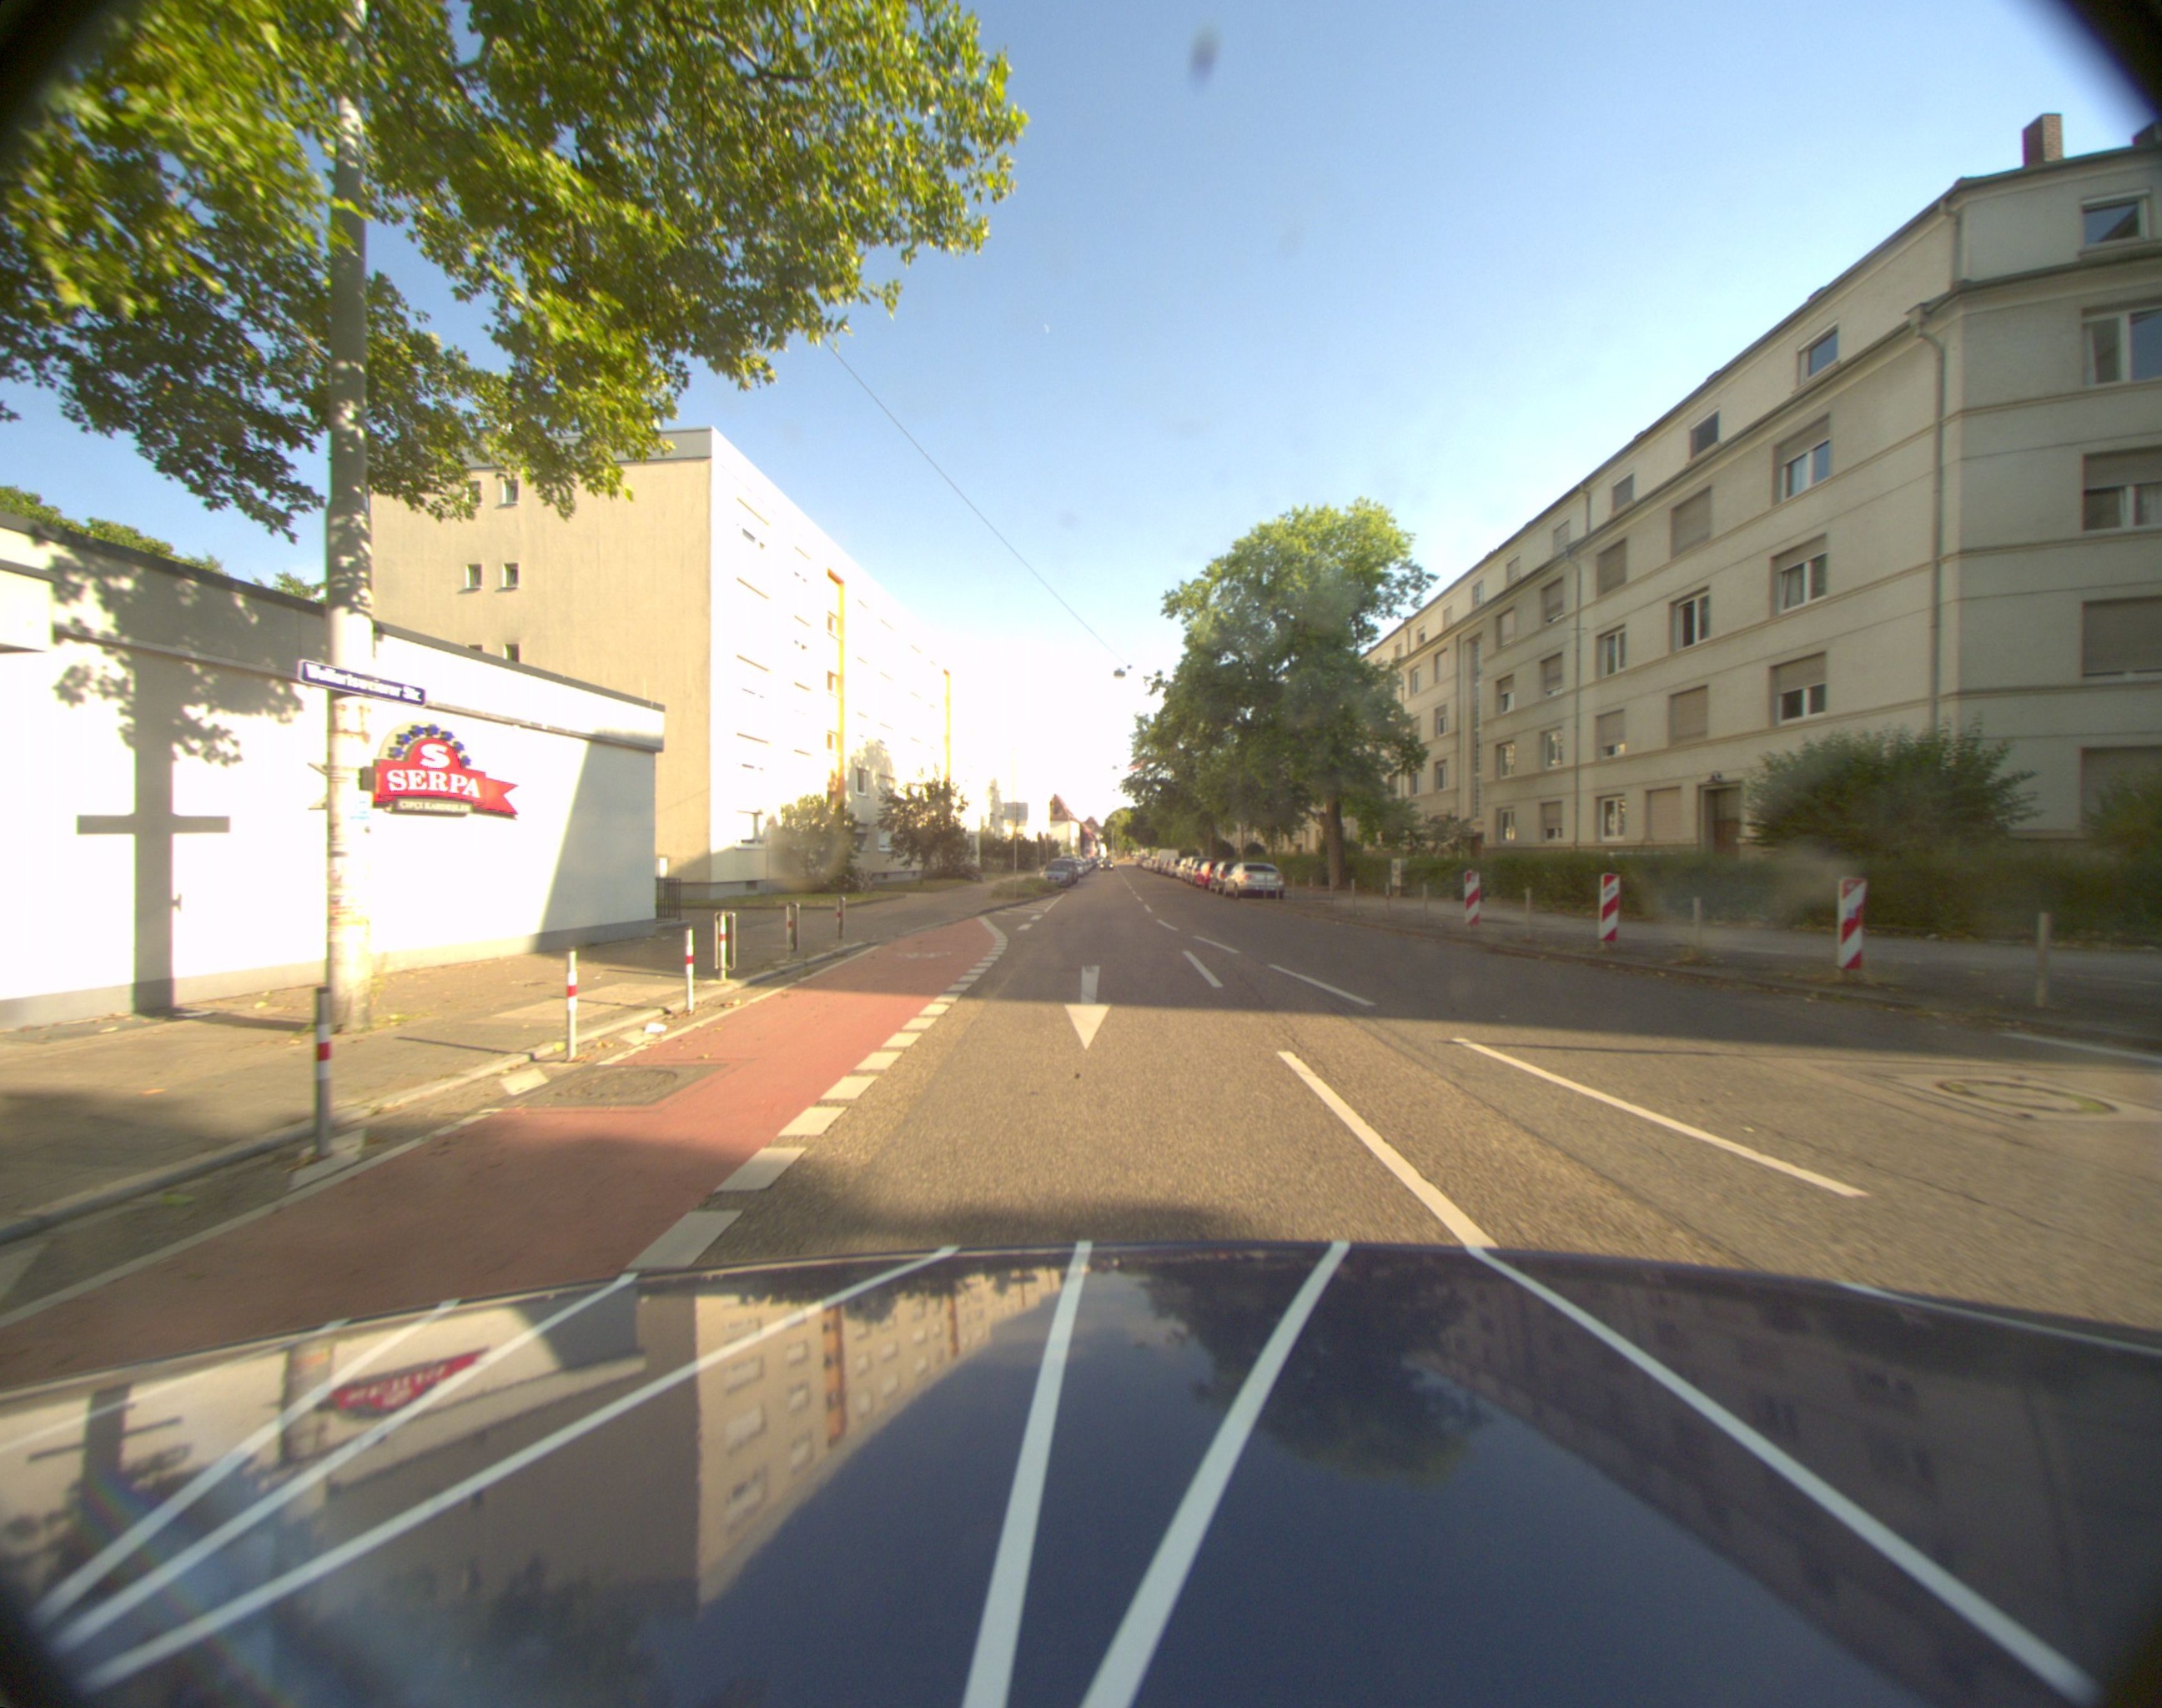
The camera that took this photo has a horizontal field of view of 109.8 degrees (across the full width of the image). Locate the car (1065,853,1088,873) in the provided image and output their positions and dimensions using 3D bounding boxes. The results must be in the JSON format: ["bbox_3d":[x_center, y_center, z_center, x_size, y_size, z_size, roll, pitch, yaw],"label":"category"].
[{"bbox_3d":[-0.401,0.802,68.384,1.683,1.407,4.723,8,1,2],"label":"car"}]

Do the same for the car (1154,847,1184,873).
[{"bbox_3d":[8.974,0.541,77.686,2.364,2.431,6.164,-3,1,2],"label":"car"}]

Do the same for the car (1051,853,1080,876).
[{"bbox_3d":[-1.132,0.782,57.093,1.902,1.641,4.343,0,0,2],"label":"car"}]

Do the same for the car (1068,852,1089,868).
[{"bbox_3d":[-0.220,0.555,79.043,1.841,1.493,4.172,2,1,3],"label":"car"}]

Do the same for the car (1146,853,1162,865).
[{"bbox_3d":[10.499,0.704,109.644,2.009,1.543,4.471,0,0,1],"label":"car"}]

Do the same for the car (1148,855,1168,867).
[{"bbox_3d":[9.527,0.881,94.281,1.878,1.347,4.652,3,1,0],"label":"car"}]

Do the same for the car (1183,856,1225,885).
[{"bbox_3d":[7.266,0.947,45.223,1.875,1.549,4.498,-3,0,2],"label":"car"}]

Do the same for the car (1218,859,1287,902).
[{"bbox_3d":[6.739,0.995,30.326,1.773,1.345,4.710,-5,1,2],"label":"car"}]

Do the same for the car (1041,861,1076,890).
[{"bbox_3d":[-1.283,1.221,44.995,1.745,1.465,4.000,-3,1,2],"label":"car"}]

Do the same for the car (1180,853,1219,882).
[{"bbox_3d":[7.692,0.845,49.726,1.921,1.668,4.974,-3,1,2],"label":"car"}]

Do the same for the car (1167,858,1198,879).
[{"bbox_3d":[8.108,1.132,61.255,1.875,1.549,5.057,4,0,2],"label":"car"}]

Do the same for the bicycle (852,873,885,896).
[{"bbox_3d":[-8.898,1.254,31.931,0.638,0.920,2.230,-2,-1,2],"label":"bicycle"}]

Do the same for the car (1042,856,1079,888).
[{"bbox_3d":[-1.297,1.128,49.884,1.932,1.649,4.677,-9,1,2],"label":"car"}]

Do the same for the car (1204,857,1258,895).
[{"bbox_3d":[6.847,0.976,35.125,1.708,1.431,4.128,-5,1,2],"label":"car"}]

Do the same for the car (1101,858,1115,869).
[{"bbox_3d":[3.613,1.299,102.023,1.775,1.492,3.675,-1,0,4],"label":"car"}]

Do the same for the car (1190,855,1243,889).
[{"bbox_3d":[7.042,0.908,39.862,1.876,1.549,3.999,-4,1,-2],"label":"car"}]

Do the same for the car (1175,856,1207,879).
[{"bbox_3d":[8.094,0.998,56.099,1.875,1.549,4.102,2,-1,2],"label":"car"}]
